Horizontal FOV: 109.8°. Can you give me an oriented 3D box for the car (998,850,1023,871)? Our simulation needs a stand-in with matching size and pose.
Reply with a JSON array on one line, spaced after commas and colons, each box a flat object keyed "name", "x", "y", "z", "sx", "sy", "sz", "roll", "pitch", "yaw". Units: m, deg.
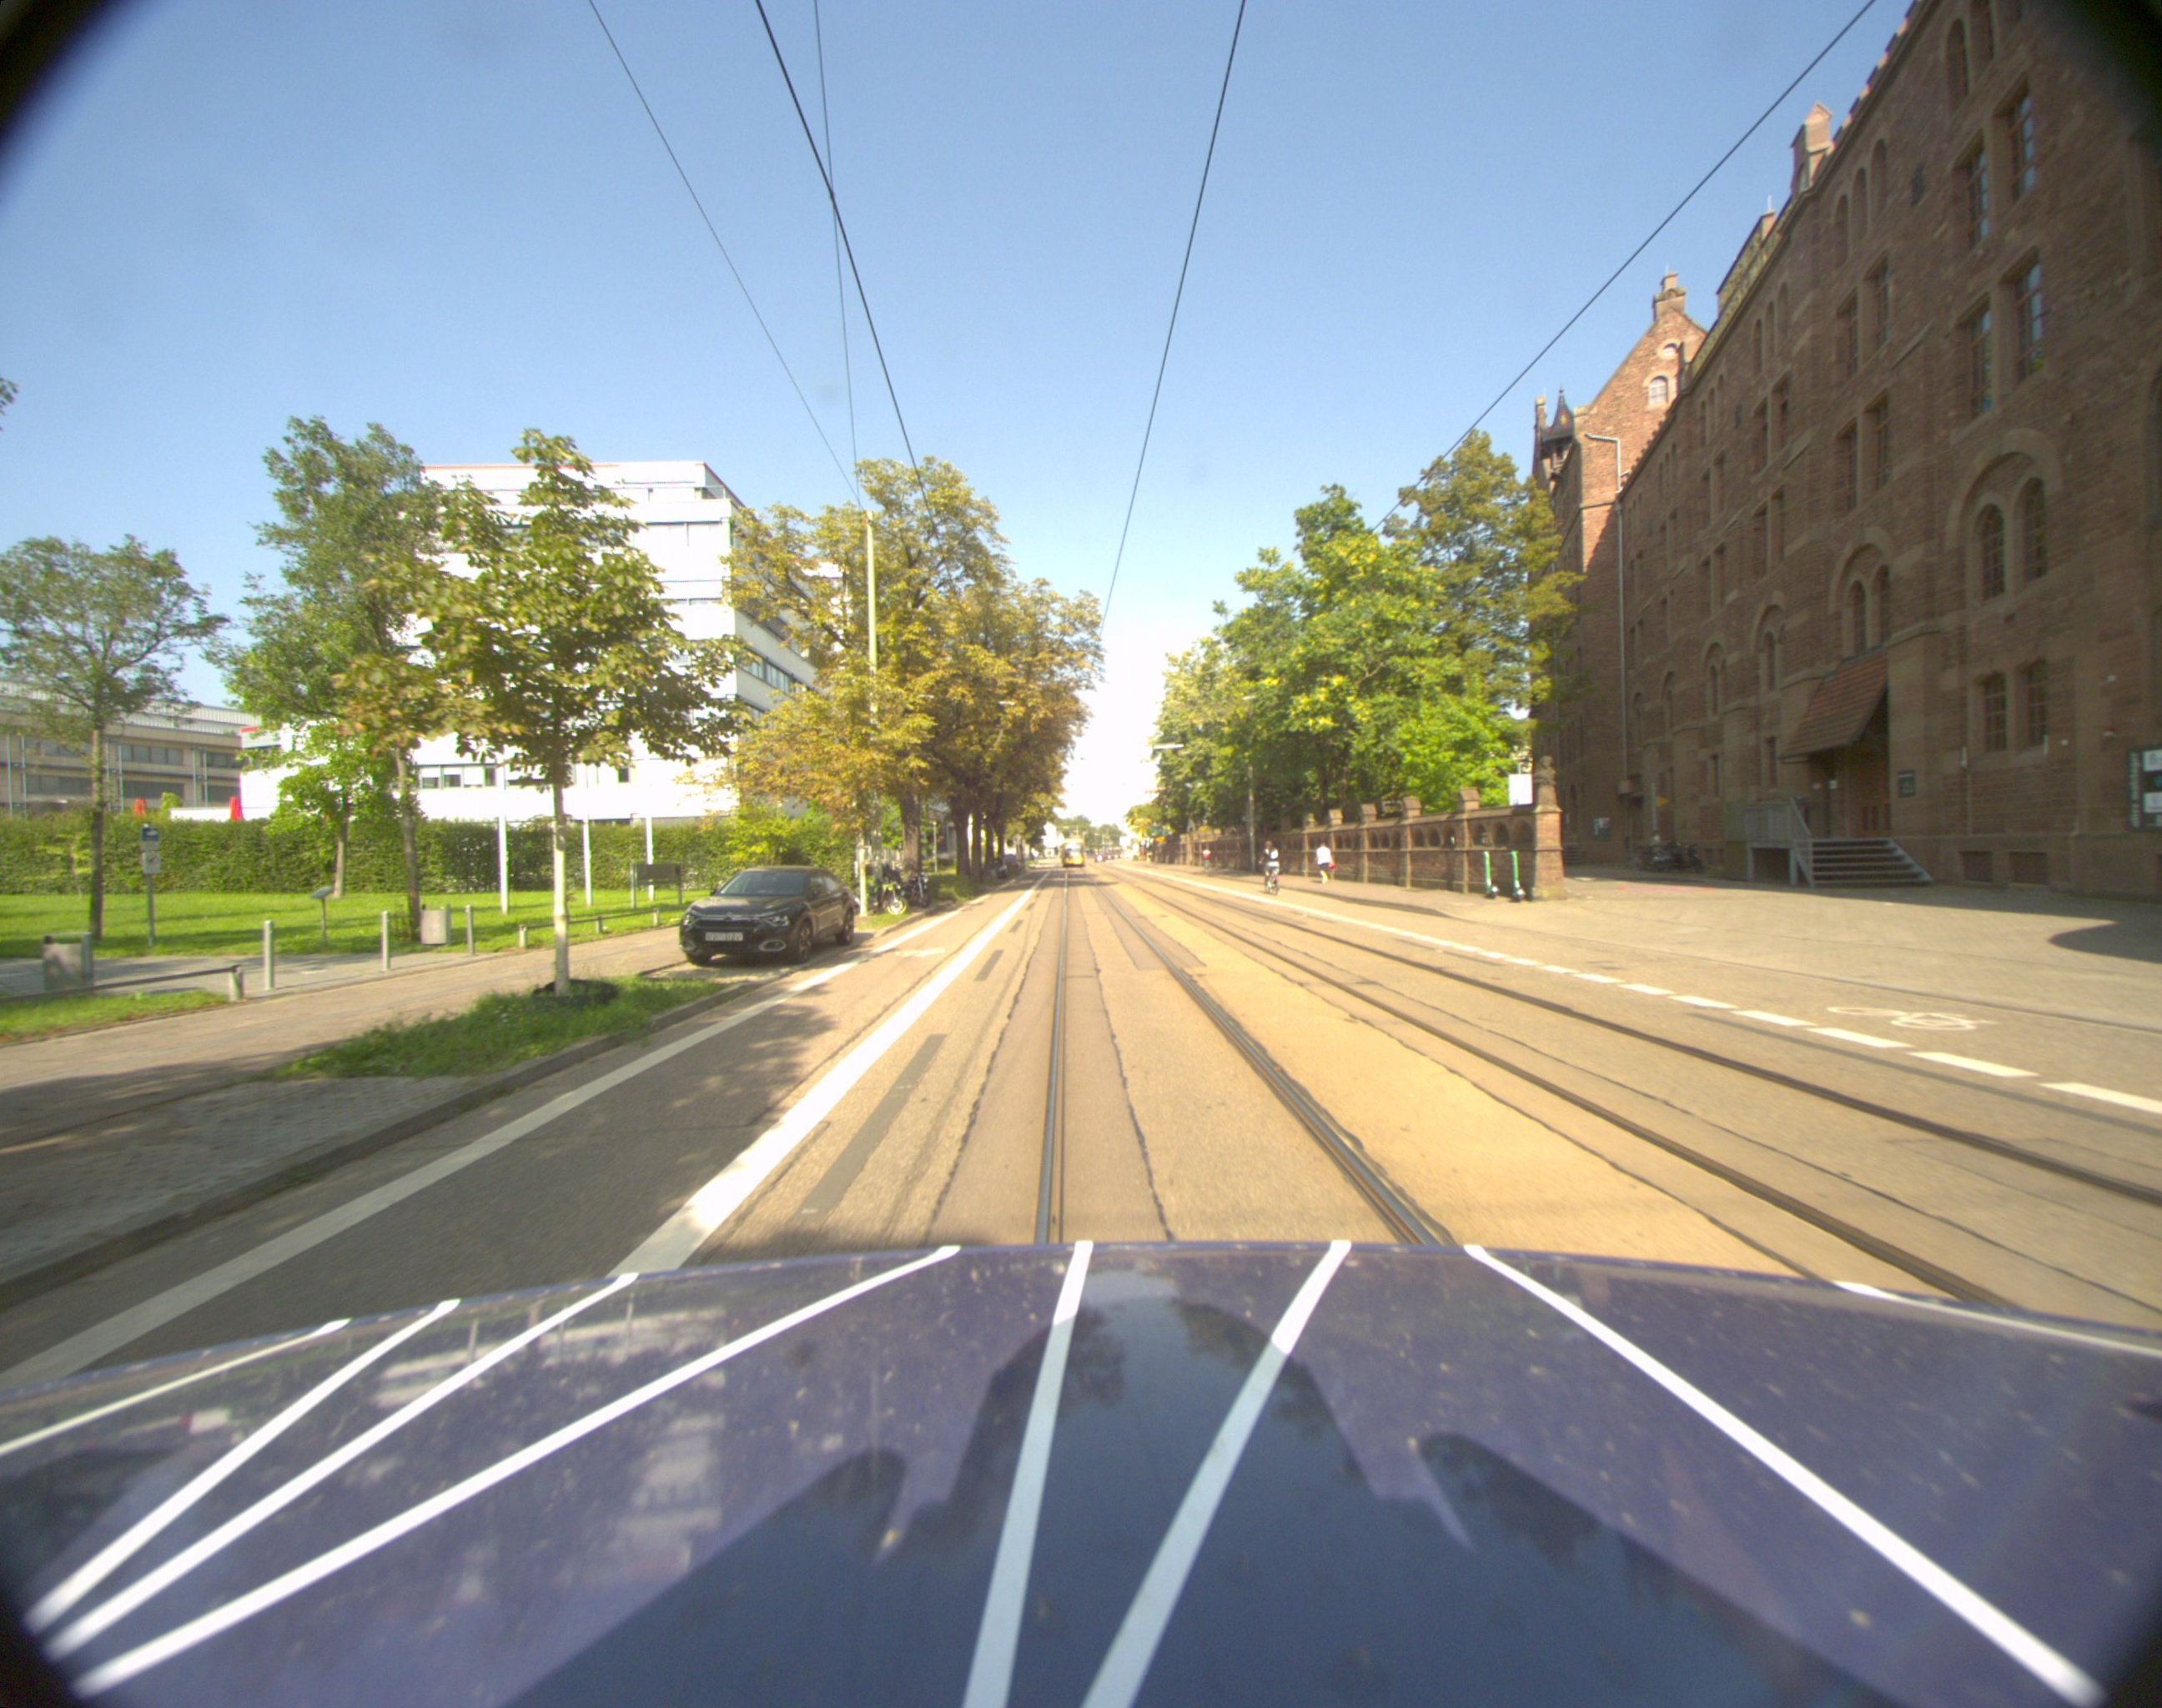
[{"name": "car", "x": -6.033, "y": 0.526, "z": 65.213, "sx": 1.867, "sy": 1.644, "sz": 4.182, "roll": 0, "pitch": 1, "yaw": -2}]

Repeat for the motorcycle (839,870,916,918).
[{"name": "motorcycle", "x": -5.441, "y": 1.070, "z": 20.343, "sx": 1.984, "sy": 1.218, "sz": 0.647, "roll": -1, "pitch": 1, "yaw": 24}]

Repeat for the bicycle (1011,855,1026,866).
[{"name": "bicycle", "x": -6.221, "y": 0.645, "z": 75.614, "sx": 1.460, "sy": 1.009, "sz": 0.382, "roll": -1, "pitch": 1, "yaw": -4}]

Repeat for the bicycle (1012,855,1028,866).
[{"name": "bicycle", "x": -6.087, "y": 0.633, "z": 76.093, "sx": 1.621, "sy": 1.009, "sz": 0.382, "roll": -1, "pitch": 1, "yaw": -4}]

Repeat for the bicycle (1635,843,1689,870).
[{"name": "bicycle", "x": 23.107, "y": 0.111, "z": 30.254, "sx": 1.659, "sy": 1.040, "sz": 0.566, "roll": -1, "pitch": 2, "yaw": 35}]

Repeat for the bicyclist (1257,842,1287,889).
[{"name": "bicyclist", "x": 6.497, "y": 0.386, "z": 25.884, "sx": 0.699, "sy": 1.571, "sz": 1.087, "roll": -1, "pitch": 1, "yaw": -3}]

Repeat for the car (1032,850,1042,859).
[{"name": "car", "x": -9.227, "y": 0.096, "z": 160.589, "sx": 1.755, "sy": 1.598, "sz": 4.000, "roll": -2, "pitch": 1, "yaw": 2}]

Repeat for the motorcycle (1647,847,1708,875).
[{"name": "motorcycle", "x": 22.245, "y": 0.254, "z": 28.365, "sx": 1.694, "sy": 0.995, "sz": 0.583, "roll": -1, "pitch": 1, "yaw": 23}]

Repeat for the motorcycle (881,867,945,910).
[{"name": "motorcycle", "x": -5.312, "y": 1.062, "z": 23.995, "sx": 2.061, "sy": 1.236, "sz": 0.846, "roll": 1, "pitch": 1, "yaw": 38}]

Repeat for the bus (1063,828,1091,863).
[{"name": "bus", "x": -0.346, "y": -0.999, "z": 88.434, "sx": 2.901, "sy": 3.772, "sz": 9.317, "roll": -2, "pitch": 1, "yaw": 1}]

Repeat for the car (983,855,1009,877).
[{"name": "car", "x": -5.904, "y": 0.816, "z": 53.062, "sx": 1.567, "sy": 1.433, "sz": 3.562, "roll": 1, "pitch": 1, "yaw": -3}]

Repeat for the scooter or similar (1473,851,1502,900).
[{"name": "scooter or similar", "x": 10.131, "y": 0.536, "z": 18.943, "sx": 0.818, "sy": 1.142, "sz": 0.283, "roll": -6, "pitch": 4, "yaw": -37}]

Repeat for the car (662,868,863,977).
[{"name": "car", "x": -5.244, "y": 1.024, "z": 13.213, "sx": 1.745, "sy": 1.477, "sz": 4.436, "roll": 0, "pitch": 0, "yaw": -2}]

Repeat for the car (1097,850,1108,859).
[{"name": "car", "x": 3.641, "y": 0.121, "z": 130.060, "sx": 1.695, "sy": 1.434, "sz": 3.999, "roll": -1, "pitch": 1, "yaw": -1}]

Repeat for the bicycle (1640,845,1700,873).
[{"name": "bicycle", "x": 22.669, "y": 0.183, "z": 29.290, "sx": 1.772, "sy": 1.040, "sz": 0.666, "roll": -1, "pitch": 2, "yaw": 35}]

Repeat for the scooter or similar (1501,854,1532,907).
[{"name": "scooter or similar", "x": 10.144, "y": 0.606, "z": 17.696, "sx": 0.818, "sy": 1.142, "sz": 0.283, "roll": -6, "pitch": 4, "yaw": -37}]

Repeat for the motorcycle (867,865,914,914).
[{"name": "motorcycle", "x": -5.710, "y": 1.032, "z": 22.687, "sx": 0.846, "sy": 1.319, "sz": 2.062, "roll": -1, "pitch": 1, "yaw": -30}]

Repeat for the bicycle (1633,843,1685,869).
[{"name": "bicycle", "x": 23.532, "y": 0.087, "z": 30.954, "sx": 1.659, "sy": 1.040, "sz": 0.566, "roll": -1, "pitch": 2, "yaw": 35}]

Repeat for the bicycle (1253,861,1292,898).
[{"name": "bicycle", "x": 6.487, "y": 0.854, "z": 25.828, "sx": 0.699, "sy": 1.151, "sz": 2.037, "roll": -1, "pitch": 1, "yaw": -3}]

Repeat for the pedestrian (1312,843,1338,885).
[{"name": "pedestrian", "x": 9.461, "y": 0.375, "z": 29.448, "sx": 0.717, "sy": 1.580, "sz": 0.775, "roll": -2, "pitch": 1, "yaw": -1}]
